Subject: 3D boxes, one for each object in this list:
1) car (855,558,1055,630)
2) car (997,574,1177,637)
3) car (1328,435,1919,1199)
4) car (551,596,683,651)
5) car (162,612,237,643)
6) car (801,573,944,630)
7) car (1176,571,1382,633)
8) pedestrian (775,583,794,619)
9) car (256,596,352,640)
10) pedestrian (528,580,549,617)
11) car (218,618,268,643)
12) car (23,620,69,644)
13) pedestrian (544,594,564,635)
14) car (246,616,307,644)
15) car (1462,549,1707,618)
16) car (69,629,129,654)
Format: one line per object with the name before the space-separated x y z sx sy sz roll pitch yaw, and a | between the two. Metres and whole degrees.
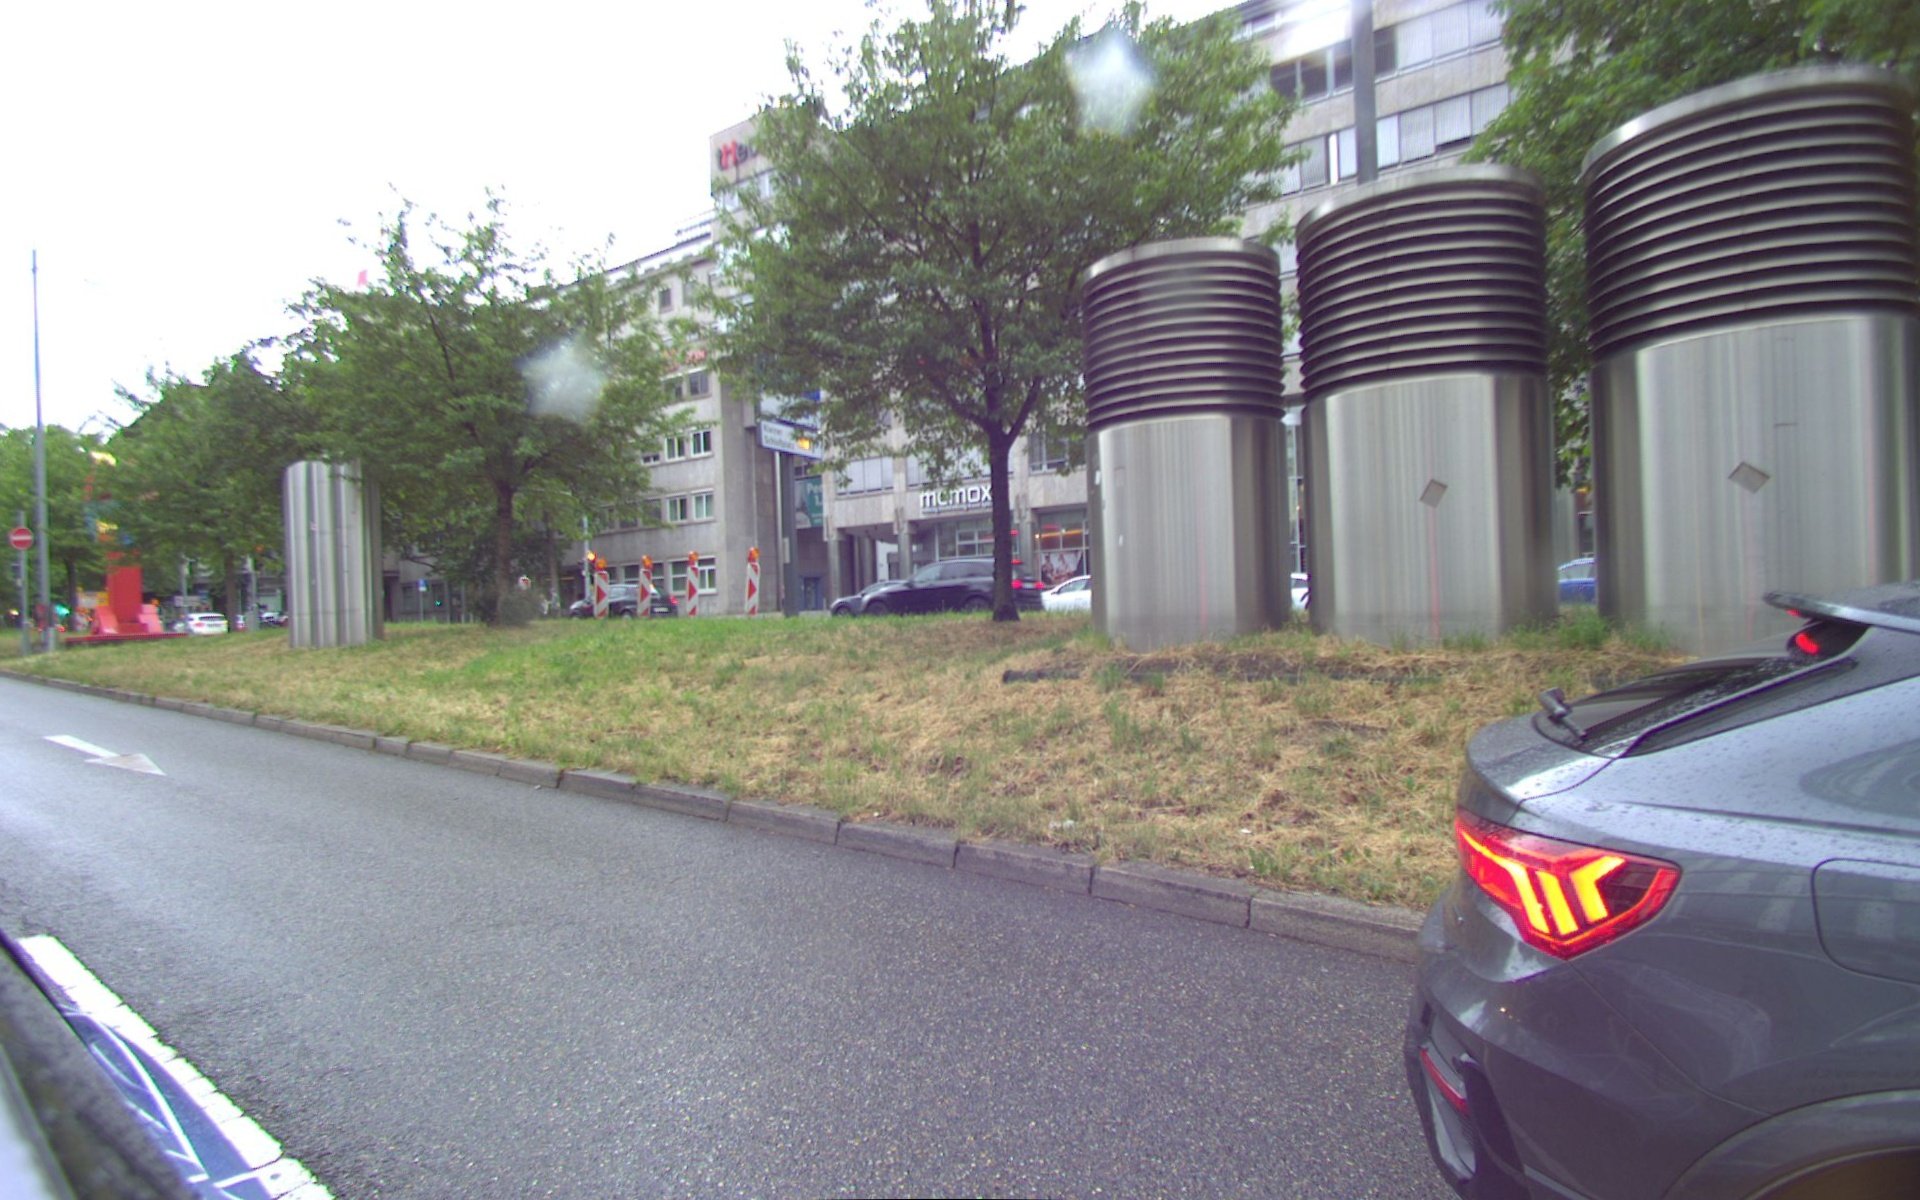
car | -0.157 -0.135 23.594 4.368 1.497 1.791 -2 2 32
car | 3.582 0.201 29.118 4.905 1.634 1.759 -2 -1 38
car | 2.820 0.553 0.967 4.247 1.628 1.830 -2 0 39
car | -10.607 0.717 31.235 3.990 1.497 1.790 -1 2 35
car | -40.071 1.453 53.317 4.180 1.486 1.805 -2 0 33
car | -2.989 0.075 34.040 4.785 1.739 1.844 -2 -1 38
car | 8.058 0.087 25.798 4.677 1.412 1.759 -2 -1 38
pedestrian | -8.820 0.044 50.901 0.528 1.801 0.712 -2 0 38
car | -28.352 0.793 43.677 4.568 1.740 1.711 -2 0 33
pedestrian | -18.994 -0.064 45.637 0.619 1.641 0.599 -2 0 41
car | -47.000 2.002 66.338 3.687 1.514 1.670 -2 -1 38
car | -70.373 2.432 77.918 3.993 1.713 1.927 -2 0 37
pedestrian | -18.102 0.662 45.102 0.721 1.801 0.522 -2 0 42
car | -42.890 1.901 63.482 4.461 1.634 1.844 -2 -1 38
car | 13.845 -0.335 22.623 4.465 1.335 1.876 -2 0 34
car | -55.638 2.647 65.387 3.987 1.486 1.853 -2 0 33
